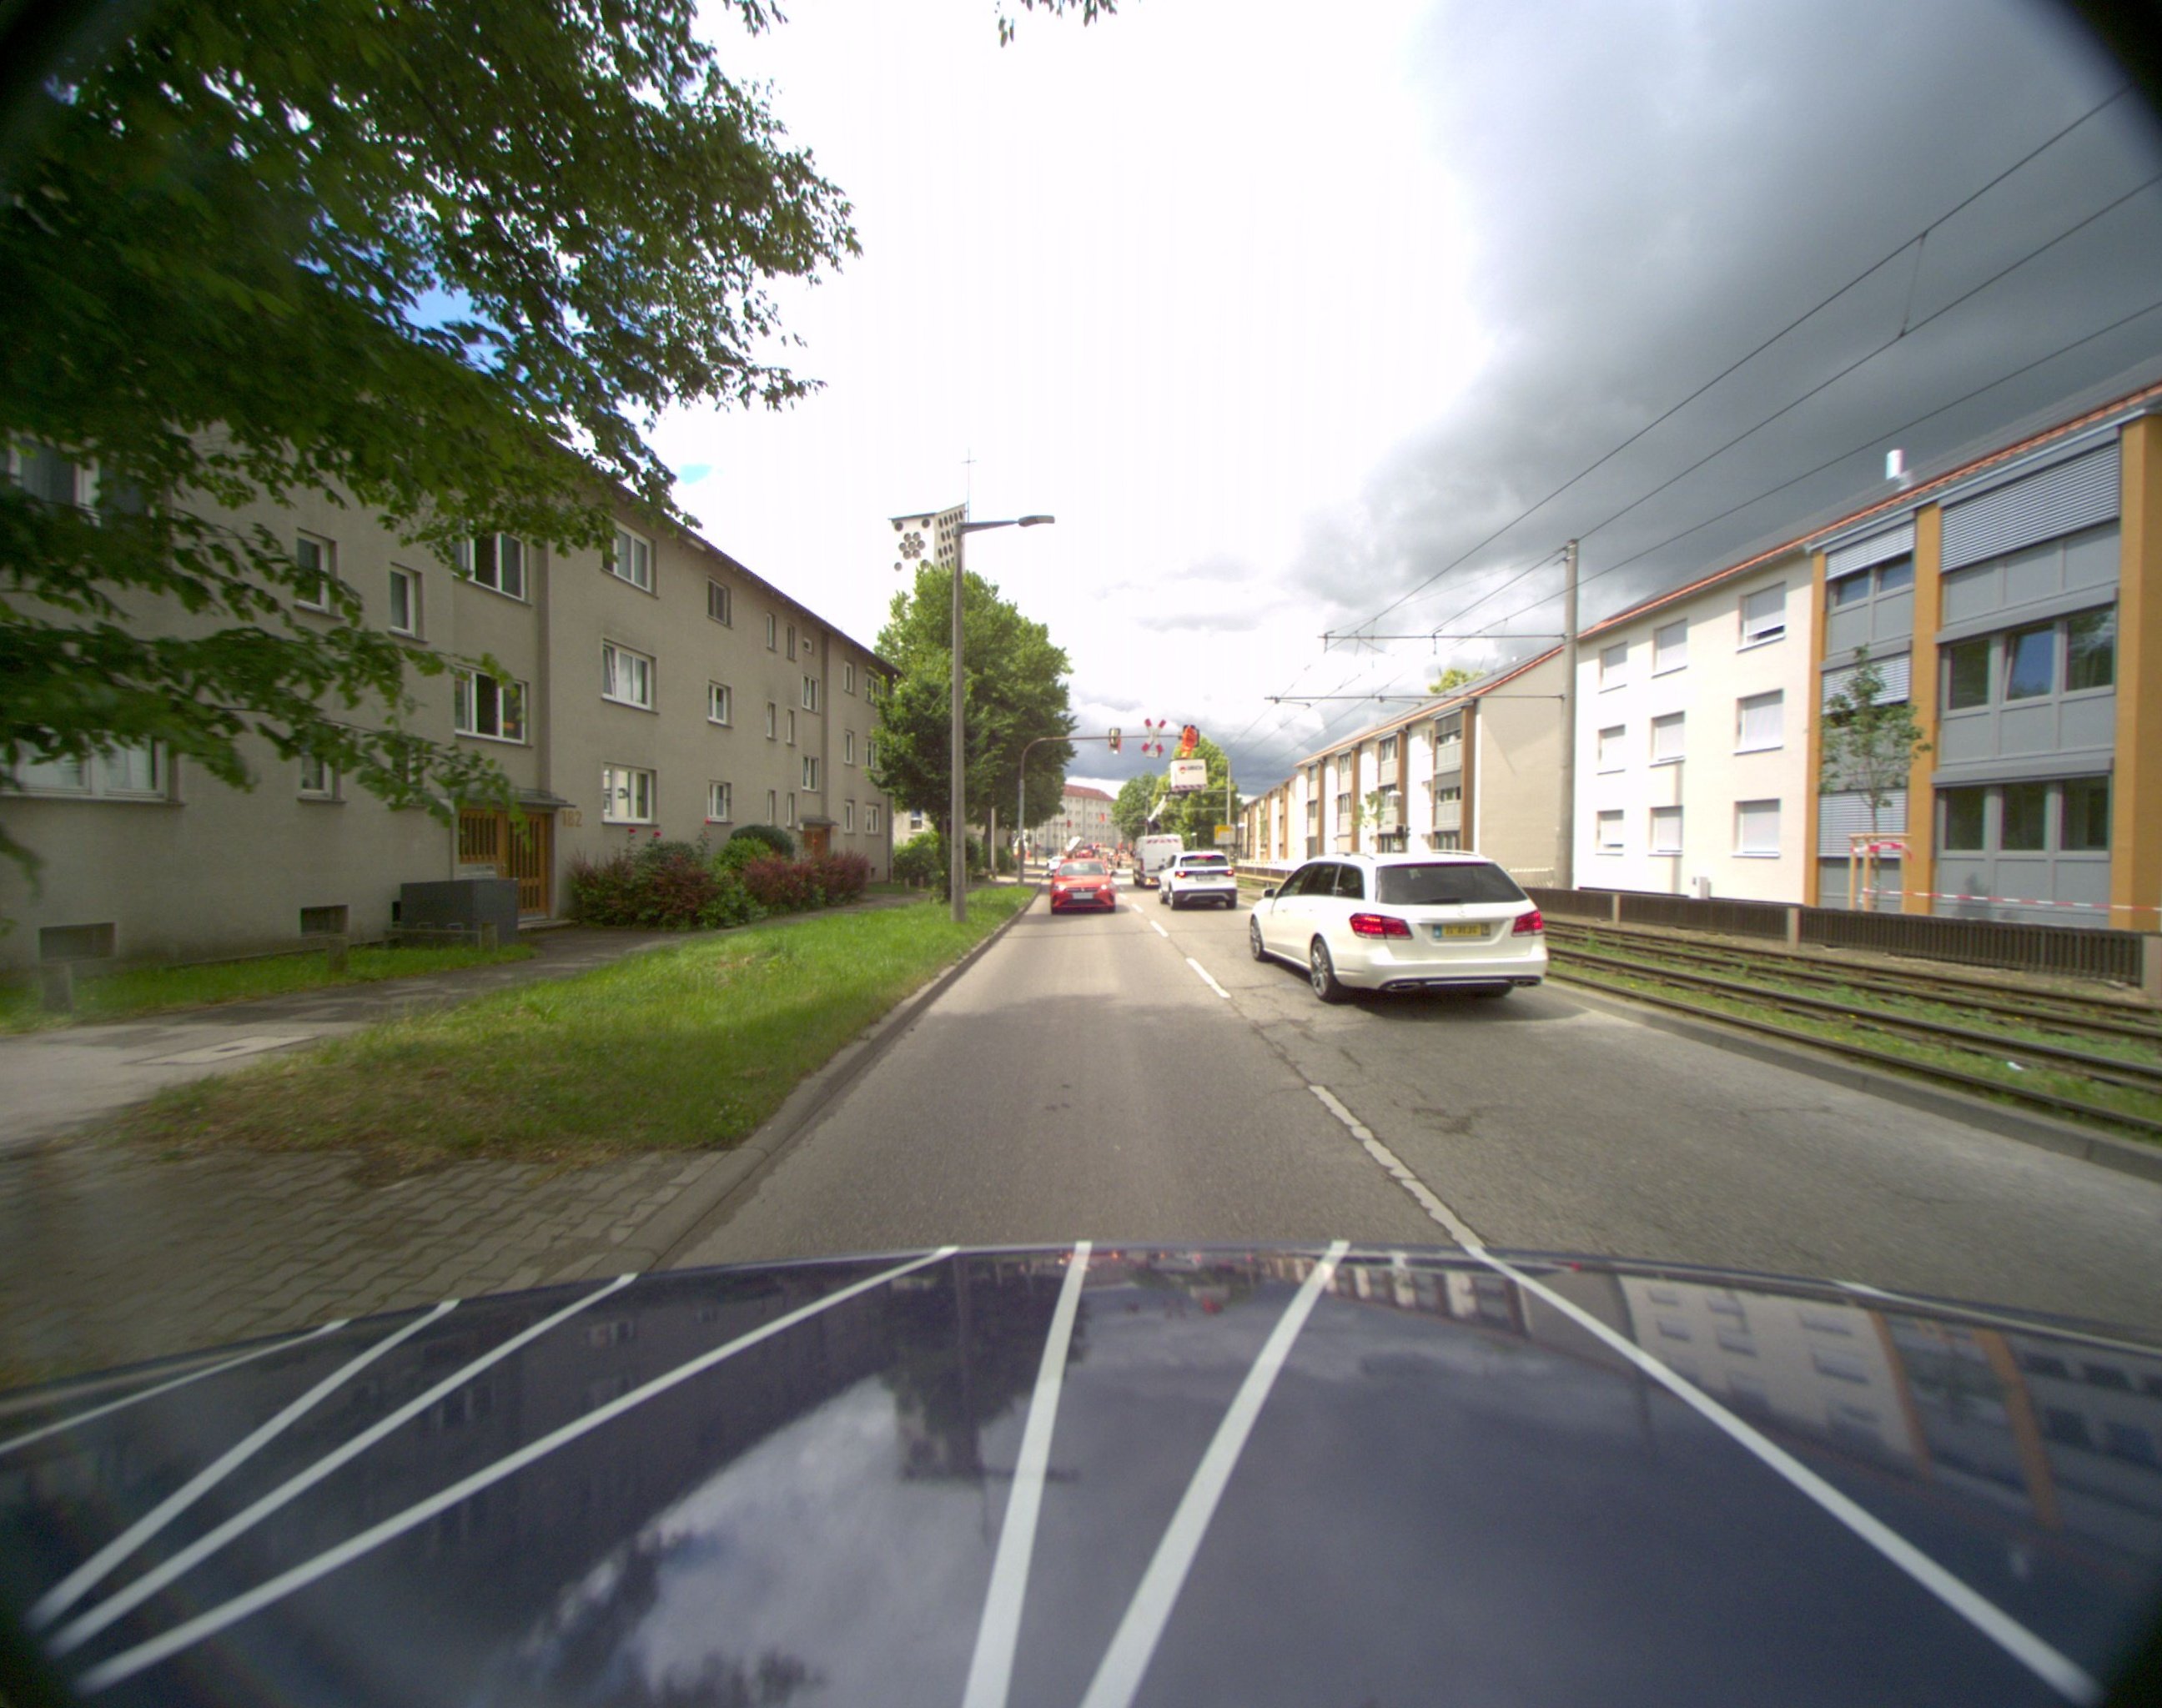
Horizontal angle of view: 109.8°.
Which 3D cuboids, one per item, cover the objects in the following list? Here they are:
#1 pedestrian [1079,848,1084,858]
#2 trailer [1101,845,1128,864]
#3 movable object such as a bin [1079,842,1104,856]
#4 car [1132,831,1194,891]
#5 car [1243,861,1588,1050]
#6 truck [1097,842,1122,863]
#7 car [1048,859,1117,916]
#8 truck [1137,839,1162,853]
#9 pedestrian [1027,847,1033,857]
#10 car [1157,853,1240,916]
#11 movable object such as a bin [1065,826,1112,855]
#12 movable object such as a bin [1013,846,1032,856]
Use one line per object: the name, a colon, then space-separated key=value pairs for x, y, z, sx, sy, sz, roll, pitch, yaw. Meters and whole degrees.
pedestrian: x=0.063 y=-0.156 z=142.525 sx=0.611 sy=1.778 sz=0.583 roll=-1 pitch=0 yaw=29
trailer: x=4.075 y=0.040 z=93.759 sx=2.669 sy=2.201 sz=6.246 roll=0 pitch=0 yaw=-3
movable object such as a bin: x=1.965 y=-0.962 z=140.921 sx=2.110 sy=2.653 sz=5.598 roll=1 pitch=2 yaw=31
car: x=3.559 y=0.283 z=34.153 sx=1.999 sy=2.416 sz=6.321 roll=-1 pitch=0 yaw=-1
car: x=3.268 y=0.864 z=8.587 sx=1.884 sy=1.472 sz=4.528 roll=-2 pitch=0 yaw=0
truck: x=3.748 y=-0.208 z=100.048 sx=2.669 sy=2.709 sz=6.393 roll=0 pitch=0 yaw=-3
car: x=0.041 y=0.896 z=22.037 sx=1.769 sy=1.425 sz=3.838 roll=-2 pitch=0 yaw=0
truck: x=12.676 y=-1.495 z=140.046 sx=2.412 sy=2.553 sz=5.594 roll=1 pitch=1 yaw=30
pedestrian: x=-9.544 y=-0.429 z=142.680 sx=0.767 sy=1.828 sz=0.785 roll=1 pitch=1 yaw=23
car: x=3.224 y=0.780 z=21.491 sx=1.722 sy=1.543 sz=3.917 roll=-1 pitch=0 yaw=0
movable object such as a bin: x=1.420 y=-2.511 z=146.115 sx=9.054 sy=5.453 sz=2.813 roll=1 pitch=0 yaw=-36
movable object such as a bin: x=-11.023 y=-0.559 z=143.215 sx=2.959 sy=2.002 sz=2.004 roll=1 pitch=1 yaw=35
